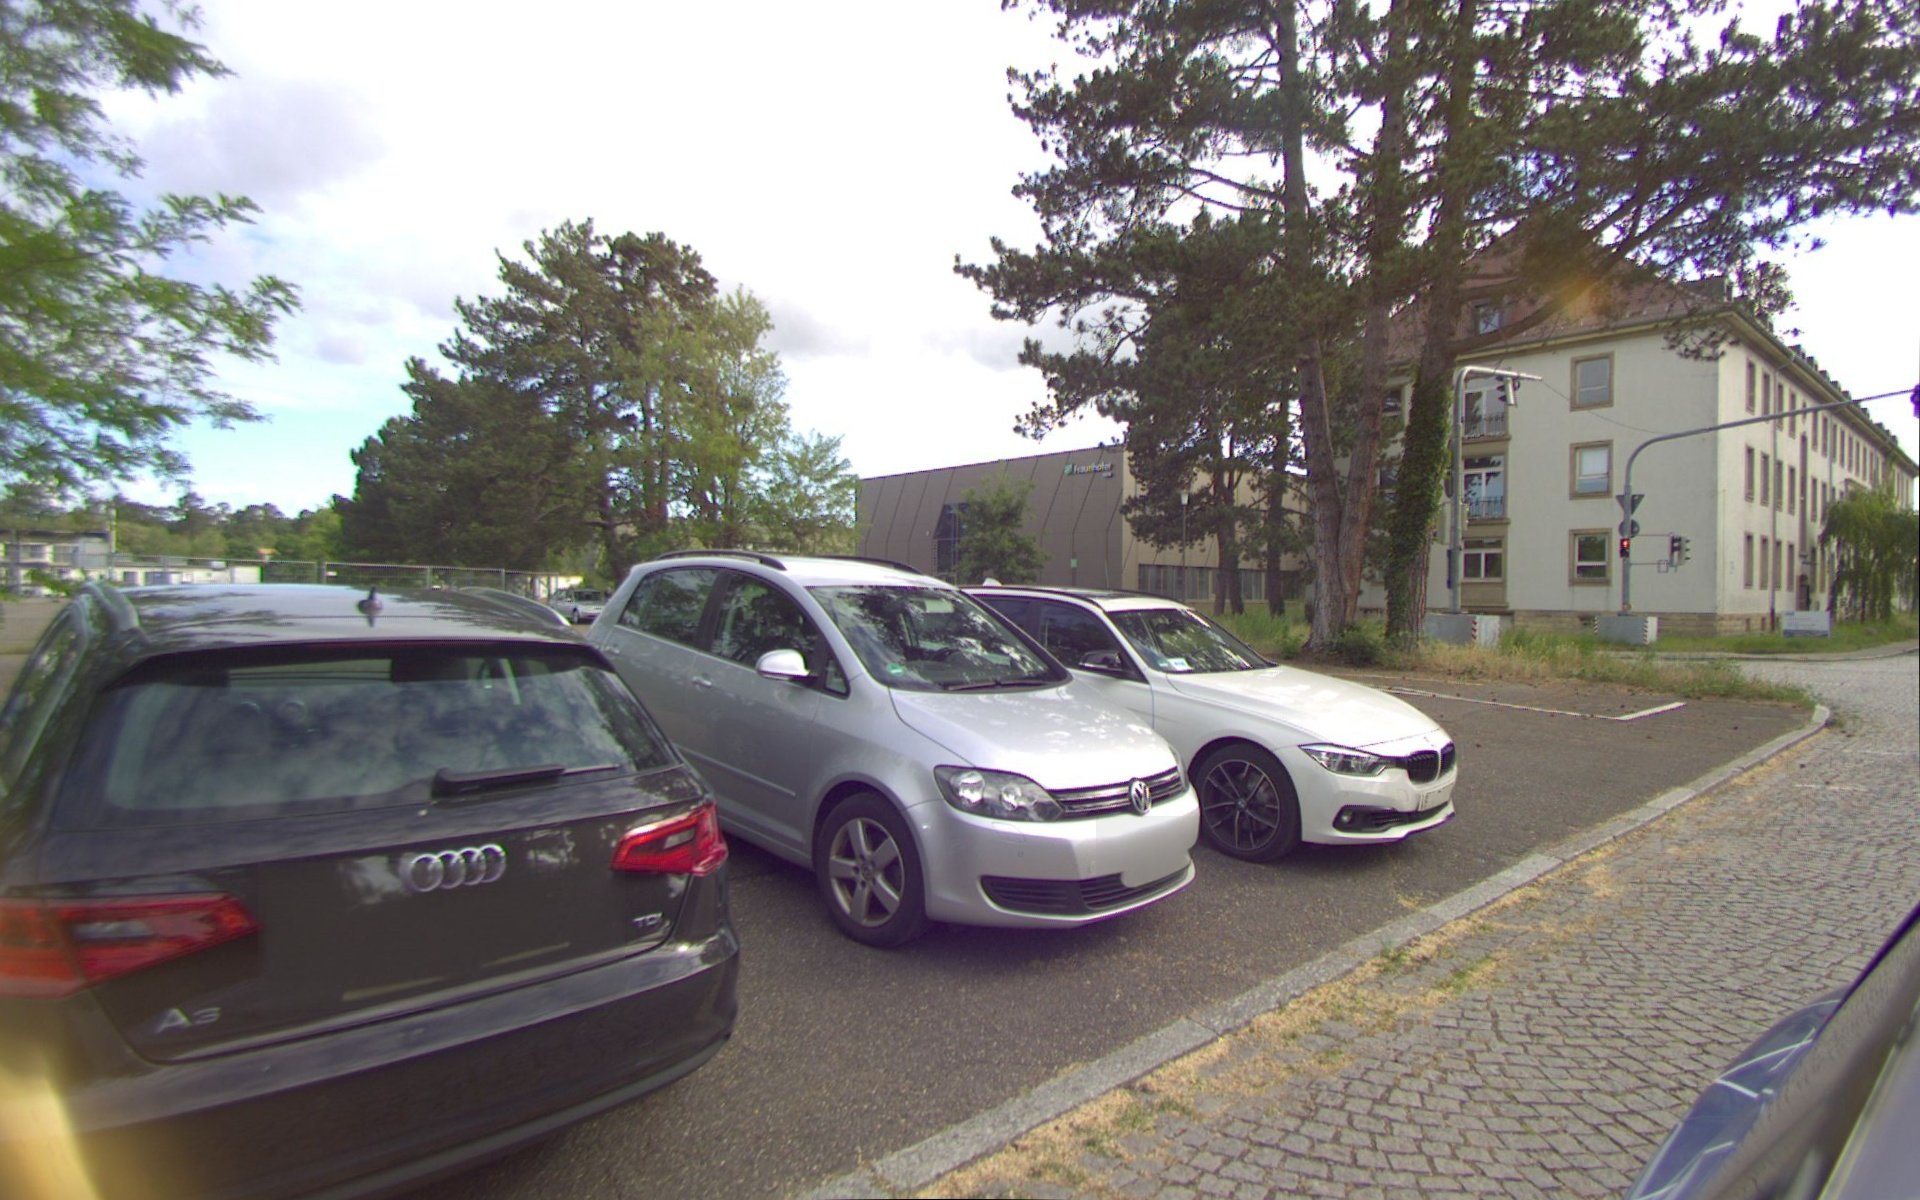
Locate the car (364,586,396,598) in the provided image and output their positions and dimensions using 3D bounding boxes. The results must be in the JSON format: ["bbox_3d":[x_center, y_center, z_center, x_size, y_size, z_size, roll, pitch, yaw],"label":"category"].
[{"bbox_3d":[-86.906,-1.183,151.704,4.008,1.862,1.784,0,0,-39],"label":"car"}]

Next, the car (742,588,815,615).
[{"bbox_3d":[-11.681,0.074,65.428,4.346,1.481,1.834,-3,3,-44],"label":"car"}]

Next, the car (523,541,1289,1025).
[{"bbox_3d":[-0.638,0.540,5.660,4.332,1.593,1.798,5,4,44],"label":"car"}]

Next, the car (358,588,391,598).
[{"bbox_3d":[-88.634,-1.068,153.200,4.009,1.594,1.784,0,0,-39],"label":"car"}]

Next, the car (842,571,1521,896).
[{"bbox_3d":[1.256,0.618,7.339,1.797,1.442,4.555,0,4,-44],"label":"car"}]

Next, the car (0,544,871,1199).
[{"bbox_3d":[-2.369,0.604,3.620,1.766,1.423,4.374,2,3,-42],"label":"car"}]
